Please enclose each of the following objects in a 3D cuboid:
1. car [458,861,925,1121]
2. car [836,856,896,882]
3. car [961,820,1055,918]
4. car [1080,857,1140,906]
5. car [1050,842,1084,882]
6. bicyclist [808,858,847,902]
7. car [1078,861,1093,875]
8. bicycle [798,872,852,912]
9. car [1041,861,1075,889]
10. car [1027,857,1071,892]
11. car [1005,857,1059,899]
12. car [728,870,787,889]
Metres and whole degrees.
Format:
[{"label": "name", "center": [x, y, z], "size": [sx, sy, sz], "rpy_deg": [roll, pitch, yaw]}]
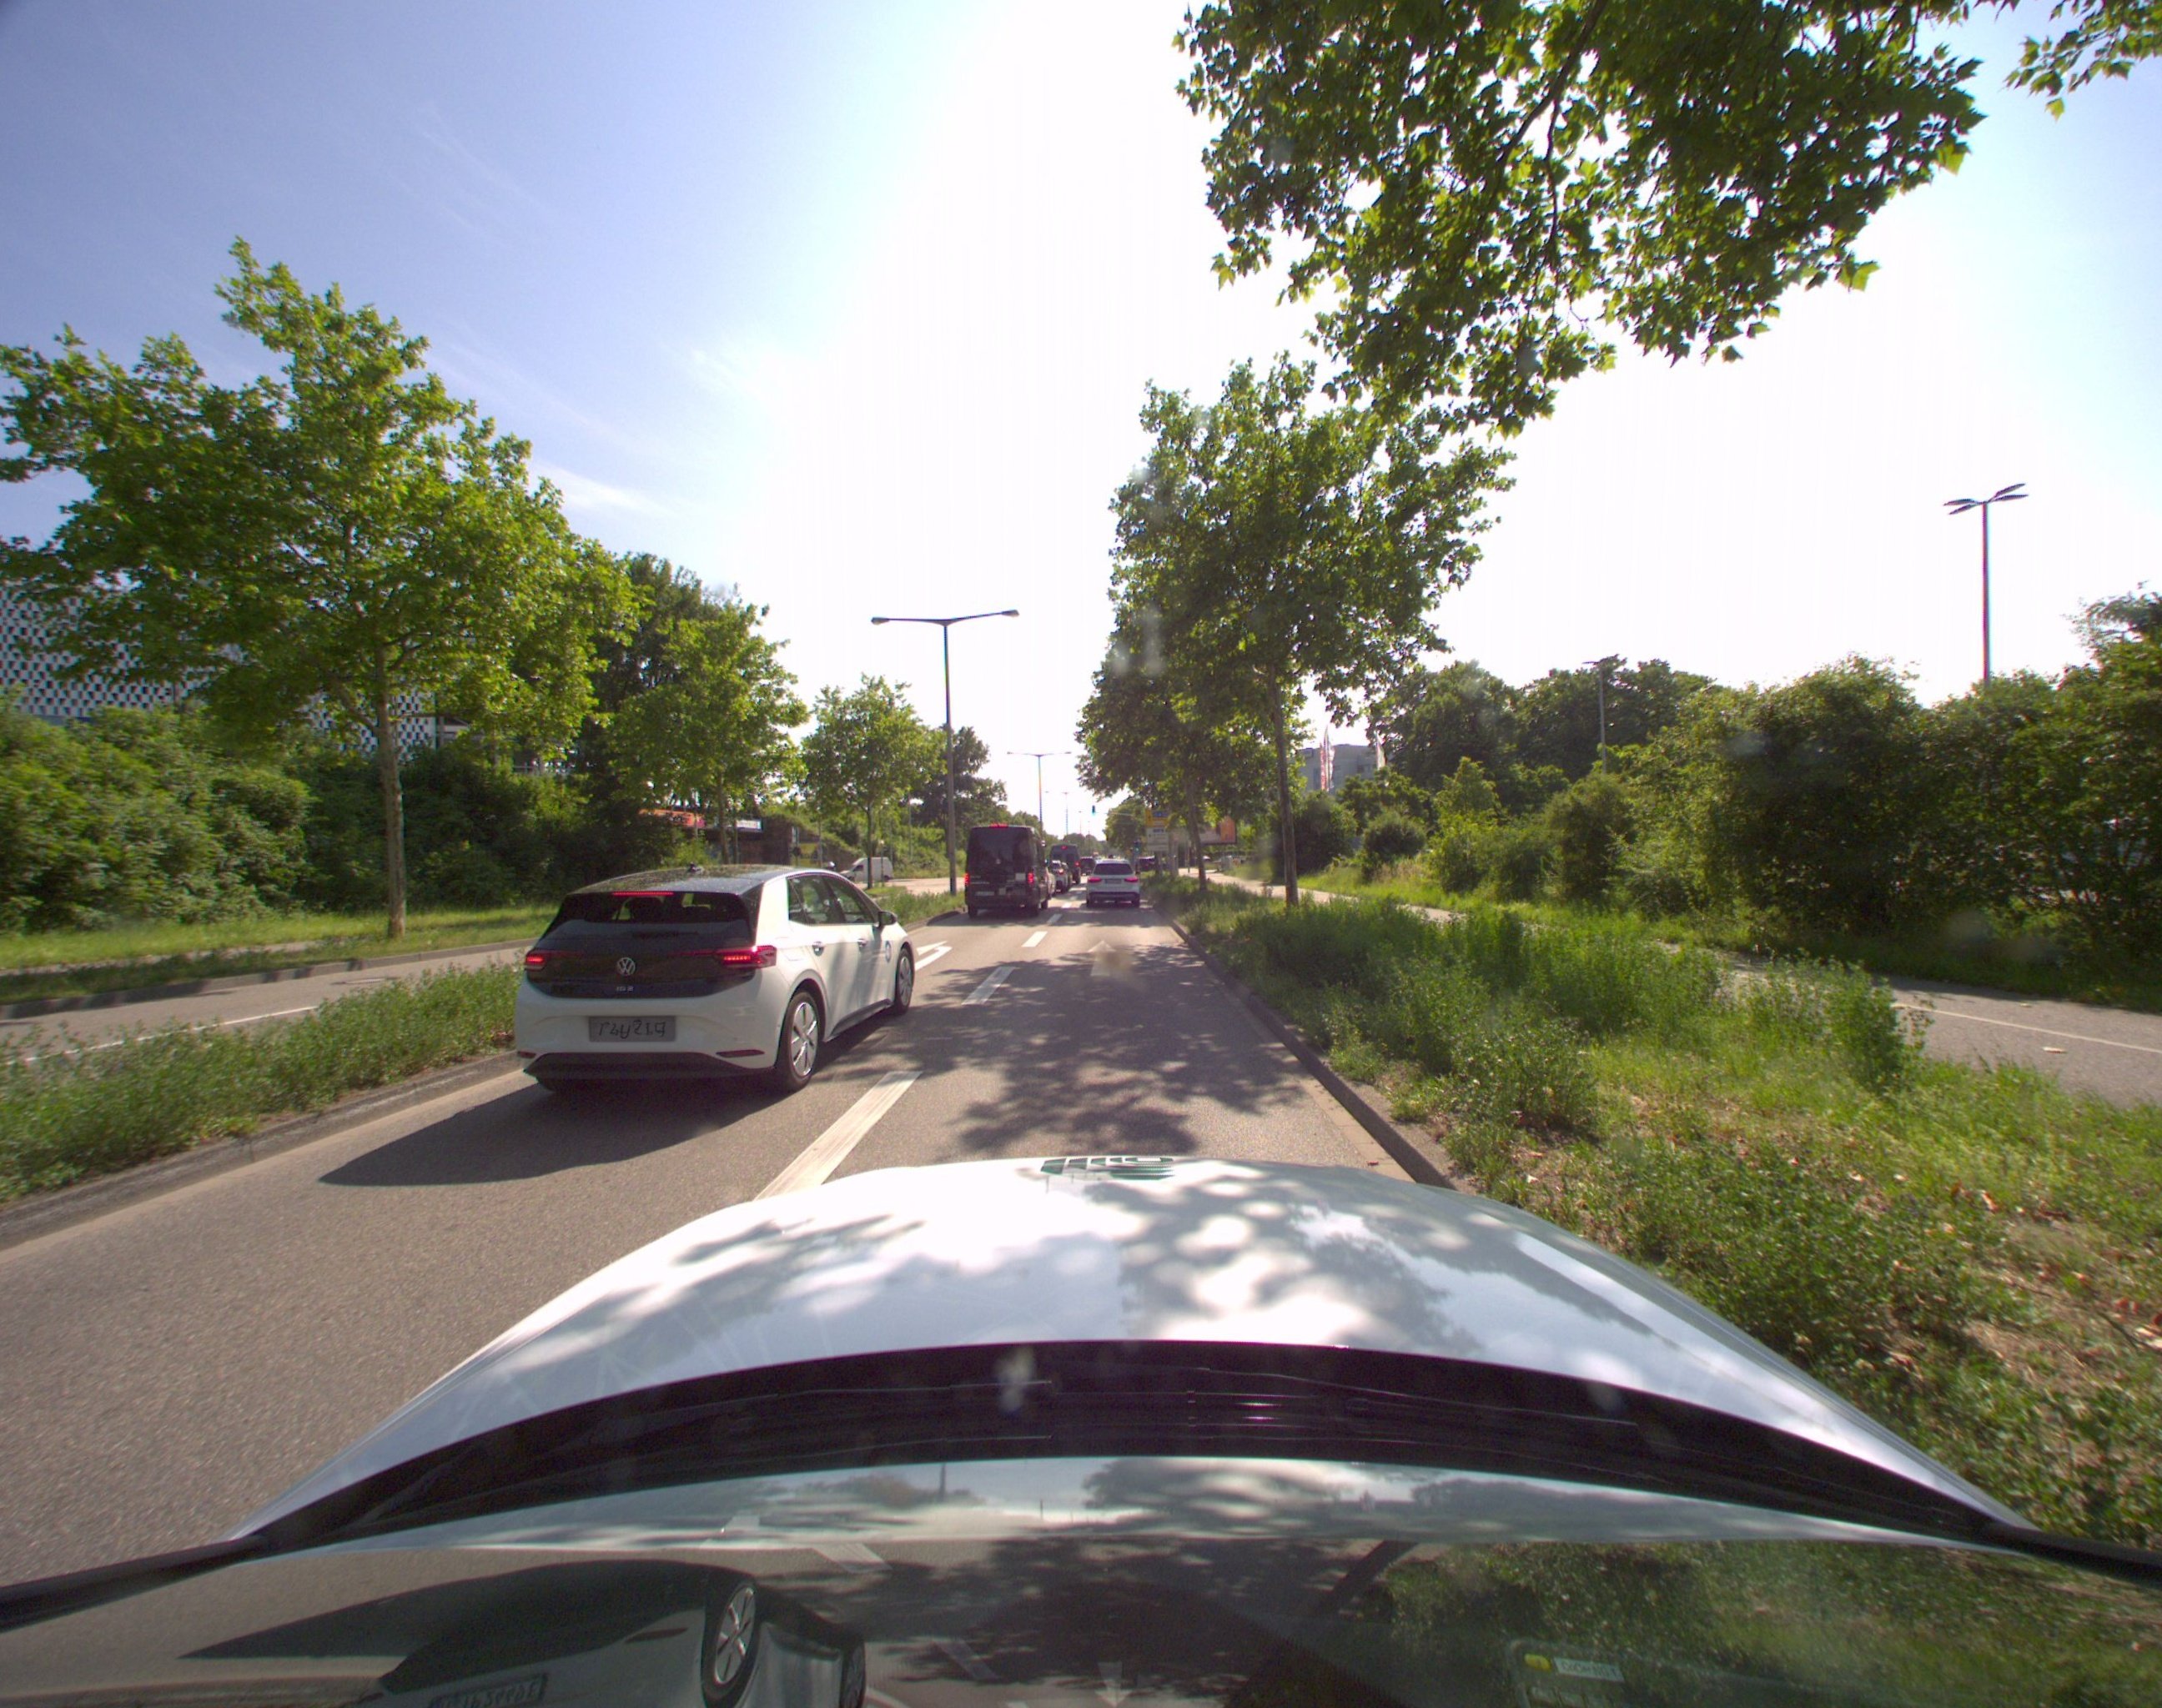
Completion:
[{"label": "car", "center": [-2.727, 0.834, 6.944], "size": [1.812, 1.521, 4.210], "rpy_deg": [-1, 0, 2]}, {"label": "car", "center": [-20.628, 1.393, 78.169], "size": [5.163, 2.418, 1.977], "rpy_deg": [-1, -1, -38]}, {"label": "car", "center": [-2.064, 0.431, 24.944], "size": [2.008, 2.607, 6.172], "rpy_deg": [-1, -1, 2]}, {"label": "car", "center": [0.958, 0.908, 28.789], "size": [1.849, 1.607, 3.996], "rpy_deg": [0, 0, -2]}, {"label": "car", "center": [-0.911, 0.563, 56.318], "size": [2.073, 2.657, 4.877], "rpy_deg": [0, -1, 3]}, {"label": "bicyclist", "center": [-7.139, 0.721, 22.971], "size": [0.725, 1.191, 1.102], "rpy_deg": [0, -1, 2]}, {"label": "car", "center": [0.481, 1.380, 81.580], "size": [1.458, 1.404, 3.478], "rpy_deg": [-1, 0, 2]}, {"label": "bicycle", "center": [-7.138, 1.045, 22.851], "size": [0.725, 1.029, 2.218], "rpy_deg": [0, 0, 2]}, {"label": "car", "center": [-1.272, 1.166, 46.027], "size": [1.685, 1.505, 3.887], "rpy_deg": [0, 0, 2]}, {"label": "car", "center": [-1.529, 0.996, 40.348], "size": [1.764, 1.647, 4.087], "rpy_deg": [-1, -1, 3]}, {"label": "car", "center": [-1.997, 0.967, 34.375], "size": [1.764, 1.647, 4.355], "rpy_deg": [-1, -1, 3]}, {"label": "car", "center": [-27.047, 2.134, 68.135], "size": [4.347, 1.426, 1.471], "rpy_deg": [-2, -1, -33]}]
